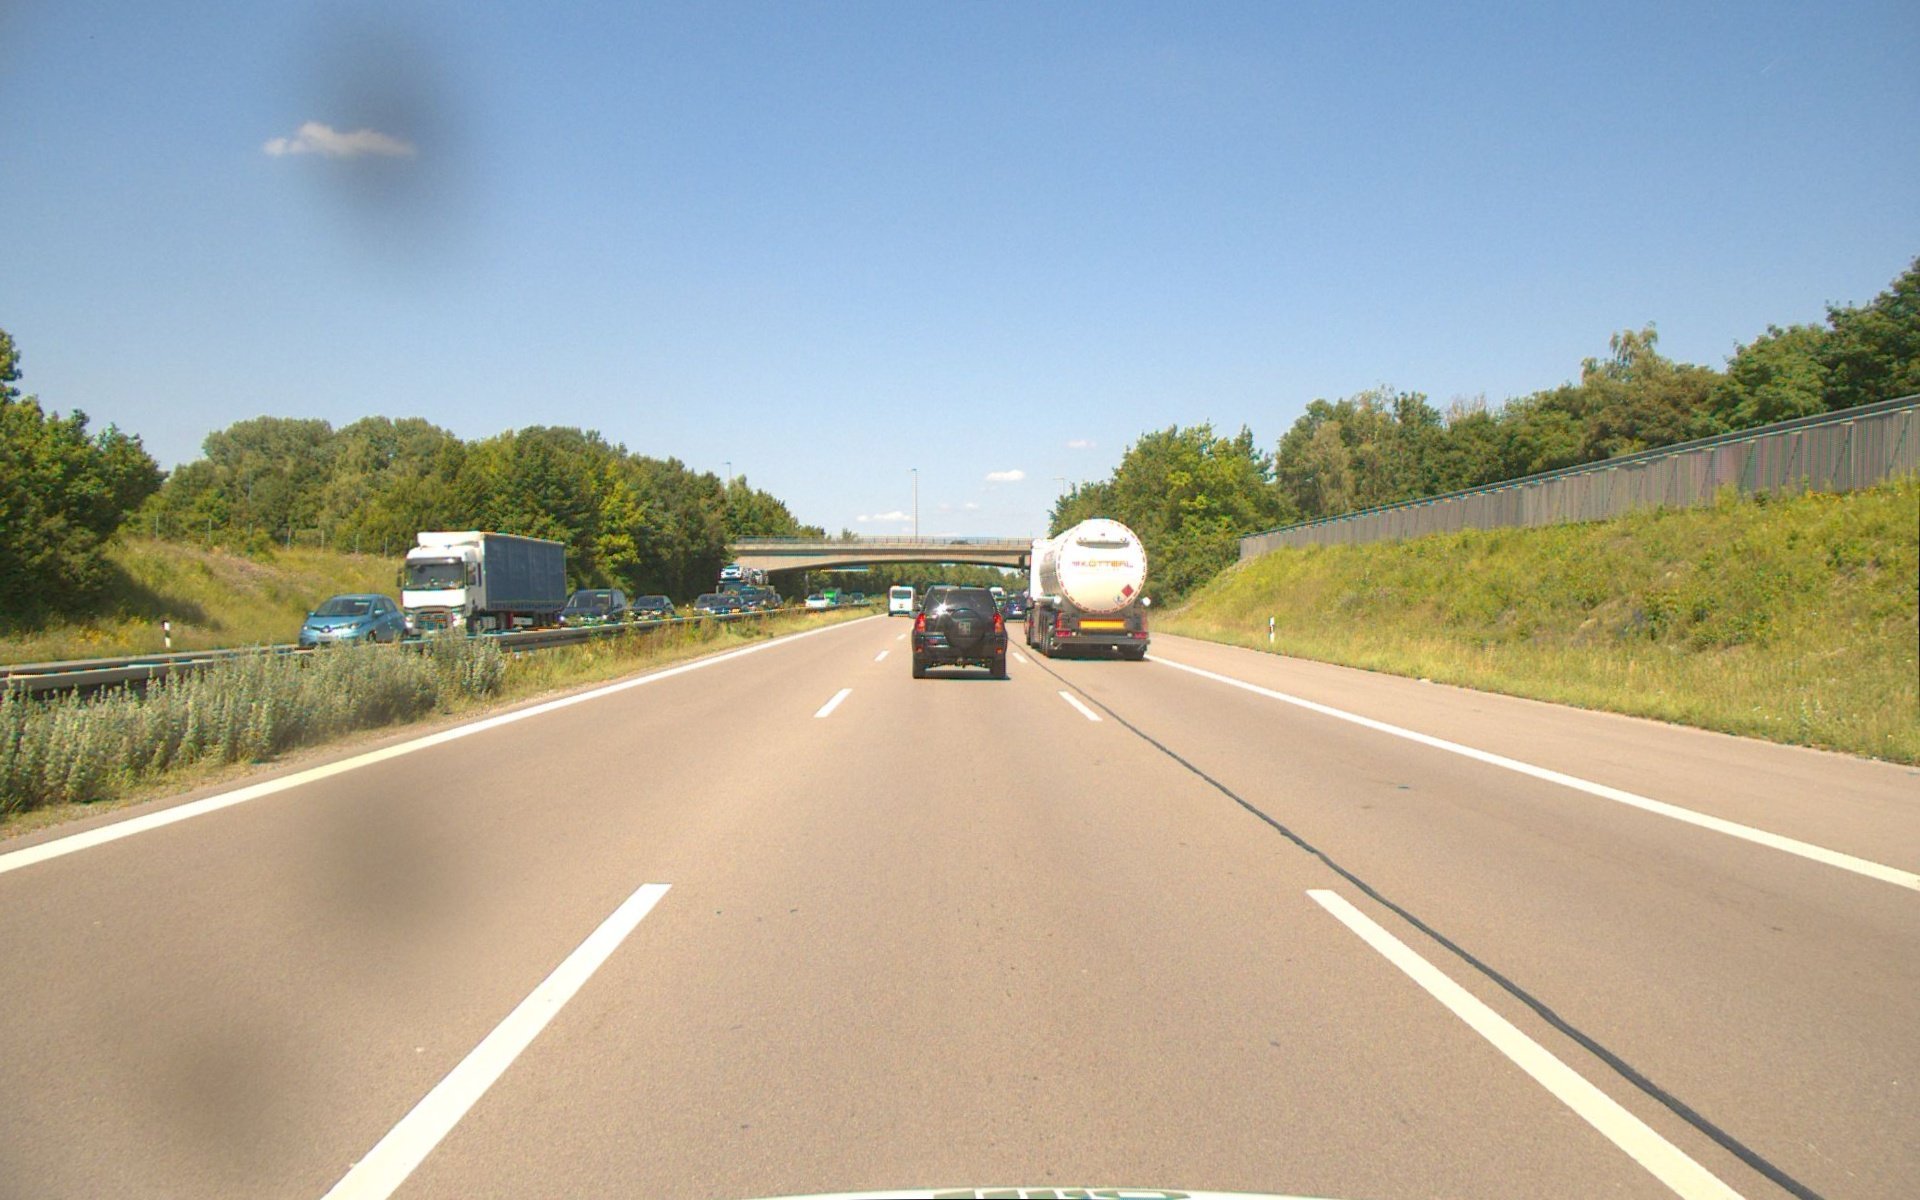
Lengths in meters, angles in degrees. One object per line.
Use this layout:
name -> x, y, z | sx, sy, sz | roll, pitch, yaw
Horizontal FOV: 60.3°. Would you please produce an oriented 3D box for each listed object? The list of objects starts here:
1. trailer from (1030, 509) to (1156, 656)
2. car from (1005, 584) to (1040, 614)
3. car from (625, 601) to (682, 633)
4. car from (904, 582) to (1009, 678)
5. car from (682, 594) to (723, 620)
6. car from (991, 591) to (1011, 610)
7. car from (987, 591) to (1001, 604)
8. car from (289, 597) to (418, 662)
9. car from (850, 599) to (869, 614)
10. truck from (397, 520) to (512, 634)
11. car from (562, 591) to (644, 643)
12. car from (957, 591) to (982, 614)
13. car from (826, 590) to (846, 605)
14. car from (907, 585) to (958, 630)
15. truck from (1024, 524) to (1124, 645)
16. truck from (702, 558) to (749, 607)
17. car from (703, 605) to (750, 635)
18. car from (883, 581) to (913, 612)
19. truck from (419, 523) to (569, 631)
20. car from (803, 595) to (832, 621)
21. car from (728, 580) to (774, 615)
trailer -> 3.385, -0.420, 44.730 | 2.593, 3.449, 11.152 | 1, 0, 1
car -> 3.693, -0.025, 98.790 | 1.953, 1.713, 3.999 | 0, -1, 0
car -> -15.415, 0.835, 83.446 | 1.953, 1.536, 5.207 | 0, 0, -1
car -> -0.080, 0.528, 31.273 | 1.868, 1.694, 3.999 | 0, 0, -1
car -> -16.641, 0.425, 106.912 | 1.924, 1.669, 4.895 | 0, 0, -1
car -> 3.895, 0.060, 157.731 | 1.952, 1.811, 4.261 | 0, 0, 1
car -> 4.645, -0.340, 224.753 | 1.775, 1.777, 3.999 | 0, 0, -1
car -> -15.236, 0.693, 41.794 | 1.758, 1.536, 4.349 | 0, 0, -2
car -> -11.083, 0.704, 181.837 | 1.812, 1.601, 4.422 | 0, -1, 0
truck -> -19.691, -0.863, 64.793 | 2.618, 4.149, 6.075 | -2, 0, -1
car -> -11.780, 0.526, 54.869 | 1.821, 1.628, 4.719 | 0, 0, -2
car -> 0.700, 0.206, 122.984 | 1.804, 1.640, 4.000 | 0, -1, 1
car -> -12.297, -0.255, 164.105 | 1.681, 1.414, 4.000 | 0, 0, 0
car -> -1.150, 0.294, 66.268 | 1.953, 1.736, 4.334 | -1, 0, -2
truck -> 3.403, -0.446, 50.865 | 2.584, 3.434, 6.487 | 1, 0, 0
truck -> -20.382, -1.468, 144.367 | 3.175, 4.120, 7.393 | -1, 0, -2
car -> -12.264, 1.038, 87.067 | 1.836, 1.464, 5.018 | 0, 0, -1
car -> -4.268, -0.214, 114.780 | 1.953, 2.049, 4.948 | -1, 0, -1
truck -> -19.827, -0.912, 71.497 | 2.618, 4.149, 13.956 | -2, 0, -1
car -> -11.633, 0.647, 134.998 | 1.953, 2.049, 4.913 | 0, -1, 0
car -> -12.249, -0.171, 97.160 | 2.047, 1.979, 5.688 | 0, 0, -1
